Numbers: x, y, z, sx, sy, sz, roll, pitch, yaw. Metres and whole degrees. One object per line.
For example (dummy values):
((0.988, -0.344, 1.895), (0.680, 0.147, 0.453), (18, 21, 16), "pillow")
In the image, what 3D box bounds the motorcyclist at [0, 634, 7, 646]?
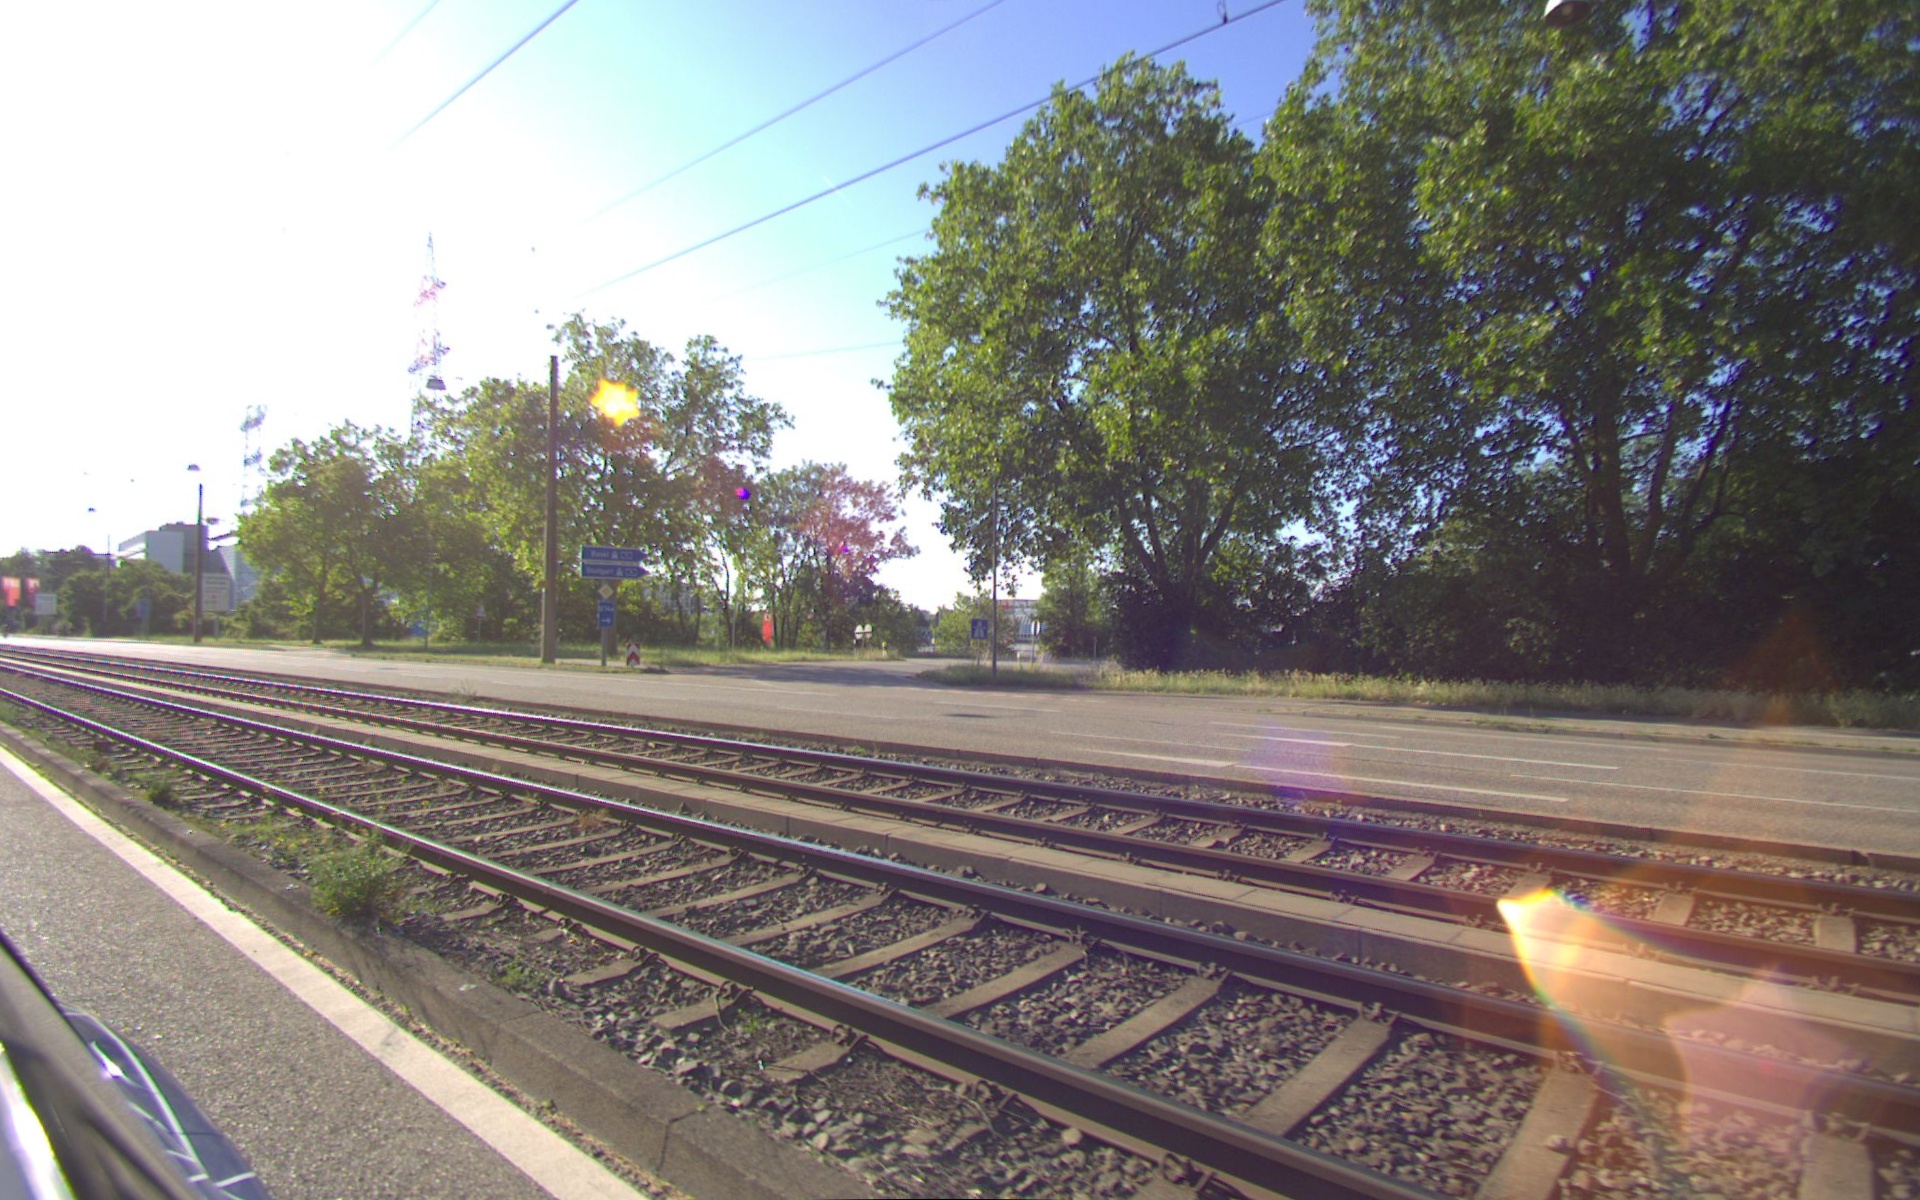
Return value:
((-109.266, 4.590, 115.596), (0.804, 1.280, 0.530), (-1, 0, 41), "motorcyclist")

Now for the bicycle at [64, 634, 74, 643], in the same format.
((-105.374, 4.536, 119.730), (2.184, 1.029, 0.584), (-1, -2, 41), "bicycle")

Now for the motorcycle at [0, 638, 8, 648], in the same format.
((-109.277, 4.961, 115.615), (1.901, 1.099, 0.530), (-1, 0, 41), "motorcycle")

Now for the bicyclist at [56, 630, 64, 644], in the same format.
((-105.773, 4.381, 118.903), (0.966, 1.623, 0.584), (-1, -2, 41), "bicyclist")

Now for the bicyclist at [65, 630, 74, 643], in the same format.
((-105.335, 4.266, 119.701), (0.905, 1.540, 0.584), (-1, -2, 41), "bicyclist")

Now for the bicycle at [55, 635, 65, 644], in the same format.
((-105.876, 4.695, 118.998), (2.184, 1.029, 0.584), (-1, -2, 41), "bicycle")
